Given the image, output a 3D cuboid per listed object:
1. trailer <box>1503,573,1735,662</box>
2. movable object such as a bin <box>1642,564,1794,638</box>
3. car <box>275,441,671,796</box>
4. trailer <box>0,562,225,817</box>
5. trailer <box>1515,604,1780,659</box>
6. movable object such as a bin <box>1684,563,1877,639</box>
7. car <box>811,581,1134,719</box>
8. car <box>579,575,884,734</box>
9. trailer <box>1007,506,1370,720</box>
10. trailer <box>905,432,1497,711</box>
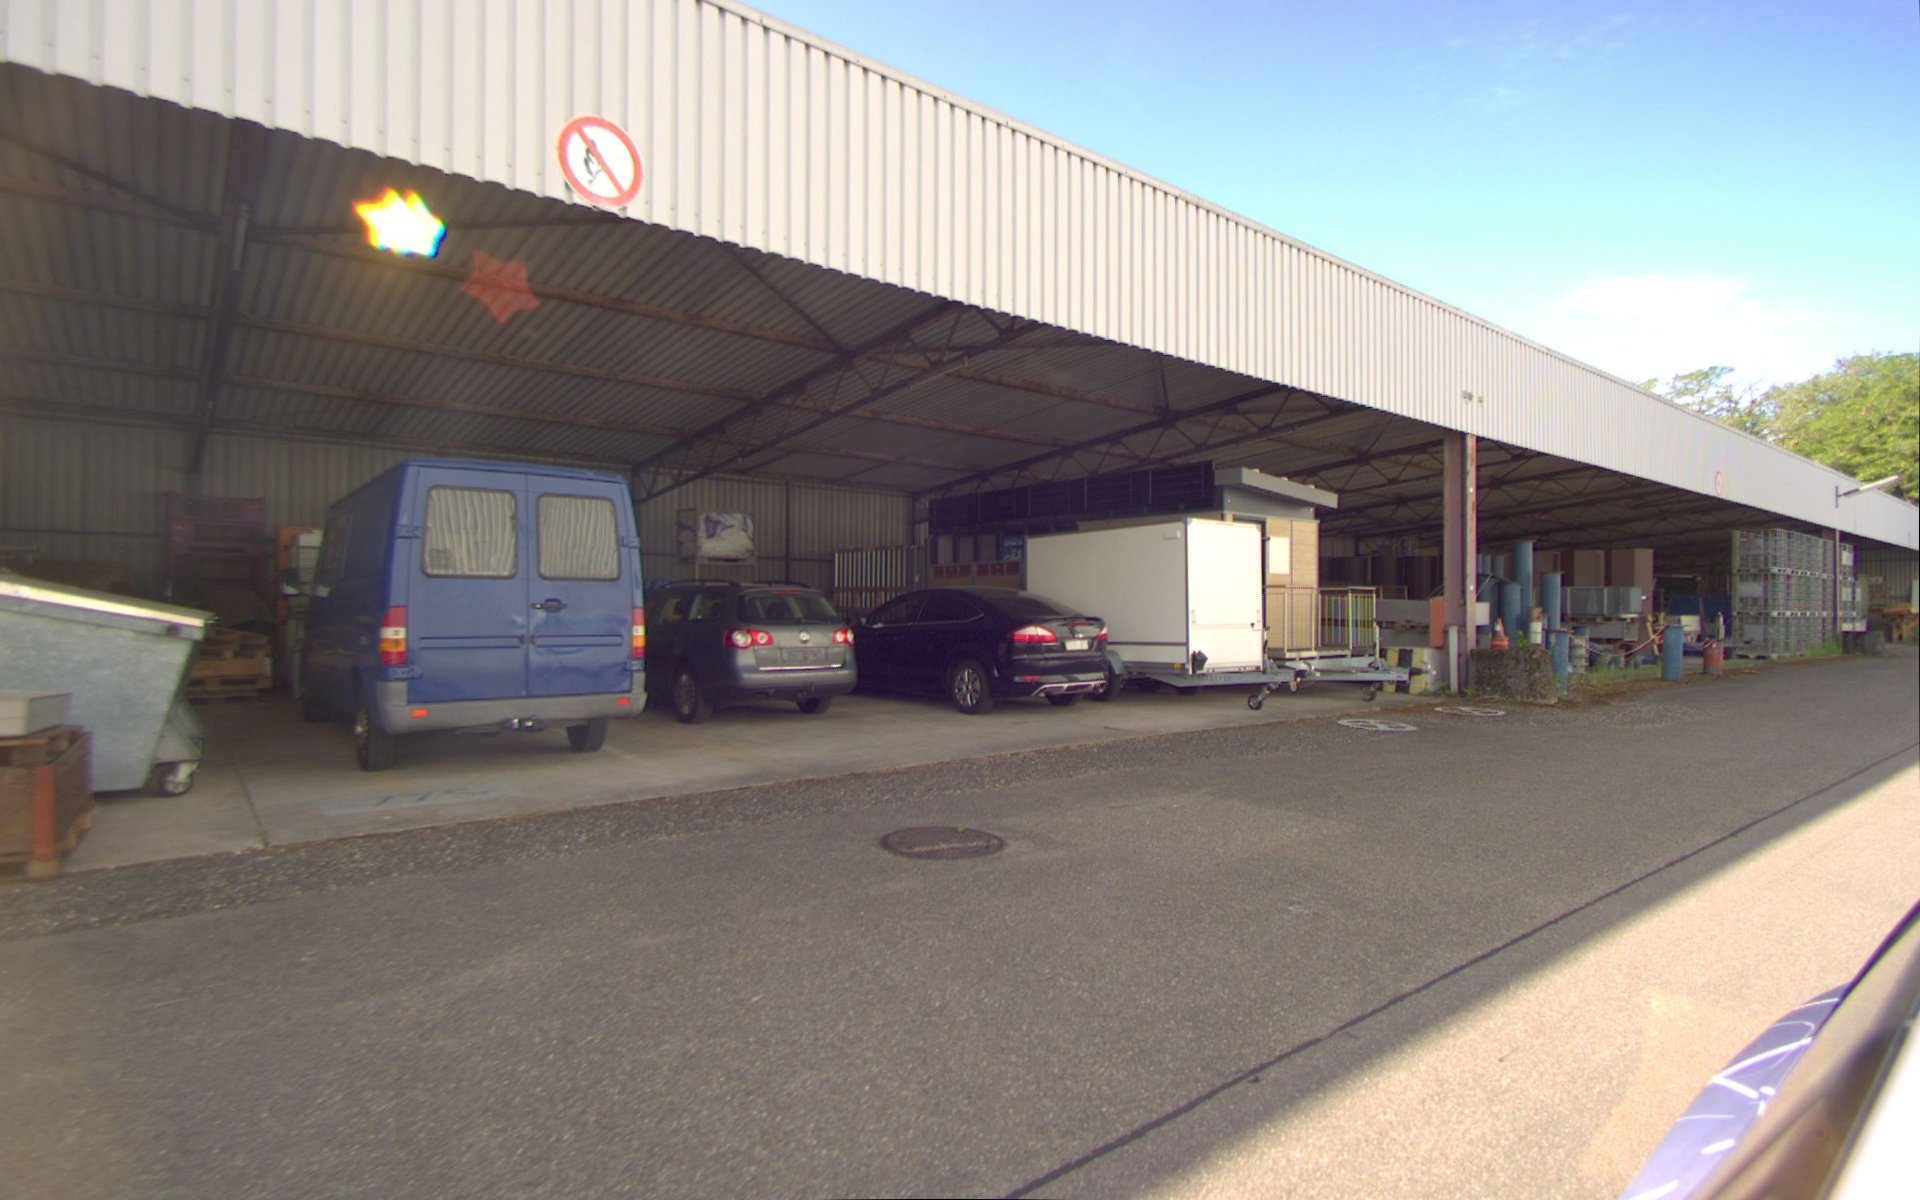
[{"bbox_3d":[16.447,0.352,25.446,2.123,2.015,4.436,0,1,-37],"label":"trailer"},{"bbox_3d":[30.953,0.038,41.435,2.451,2.867,4.537,1,0,-38],"label":"movable object such as a bin"},{"bbox_3d":[-4.767,0.100,9.341,2.114,2.310,5.343,0,0,-39],"label":"car"},{"bbox_3d":[-6.050,0.500,6.819,1.705,1.484,2.045,0,1,-35],"label":"trailer"},{"bbox_3d":[18.714,0.787,27.855,1.939,1.200,5.740,0,1,-40],"label":"trailer"},{"bbox_3d":[34.270,0.018,42.427,2.769,2.962,5.848,1,0,-38],"label":"movable object such as a bin"},{"bbox_3d":[0.007,0.537,13.171,1.837,1.490,4.254,1,0,-42],"label":"car"},{"bbox_3d":[-2.806,0.508,11.846,1.808,1.533,3.970,0,0,-42],"label":"car"},{"bbox_3d":[2.865,0.096,13.611,2.010,2.371,4.528,0,1,-38],"label":"trailer"},{"bbox_3d":[3.163,-0.444,17.200,2.750,3.385,10.294,1,1,-38],"label":"trailer"}]
